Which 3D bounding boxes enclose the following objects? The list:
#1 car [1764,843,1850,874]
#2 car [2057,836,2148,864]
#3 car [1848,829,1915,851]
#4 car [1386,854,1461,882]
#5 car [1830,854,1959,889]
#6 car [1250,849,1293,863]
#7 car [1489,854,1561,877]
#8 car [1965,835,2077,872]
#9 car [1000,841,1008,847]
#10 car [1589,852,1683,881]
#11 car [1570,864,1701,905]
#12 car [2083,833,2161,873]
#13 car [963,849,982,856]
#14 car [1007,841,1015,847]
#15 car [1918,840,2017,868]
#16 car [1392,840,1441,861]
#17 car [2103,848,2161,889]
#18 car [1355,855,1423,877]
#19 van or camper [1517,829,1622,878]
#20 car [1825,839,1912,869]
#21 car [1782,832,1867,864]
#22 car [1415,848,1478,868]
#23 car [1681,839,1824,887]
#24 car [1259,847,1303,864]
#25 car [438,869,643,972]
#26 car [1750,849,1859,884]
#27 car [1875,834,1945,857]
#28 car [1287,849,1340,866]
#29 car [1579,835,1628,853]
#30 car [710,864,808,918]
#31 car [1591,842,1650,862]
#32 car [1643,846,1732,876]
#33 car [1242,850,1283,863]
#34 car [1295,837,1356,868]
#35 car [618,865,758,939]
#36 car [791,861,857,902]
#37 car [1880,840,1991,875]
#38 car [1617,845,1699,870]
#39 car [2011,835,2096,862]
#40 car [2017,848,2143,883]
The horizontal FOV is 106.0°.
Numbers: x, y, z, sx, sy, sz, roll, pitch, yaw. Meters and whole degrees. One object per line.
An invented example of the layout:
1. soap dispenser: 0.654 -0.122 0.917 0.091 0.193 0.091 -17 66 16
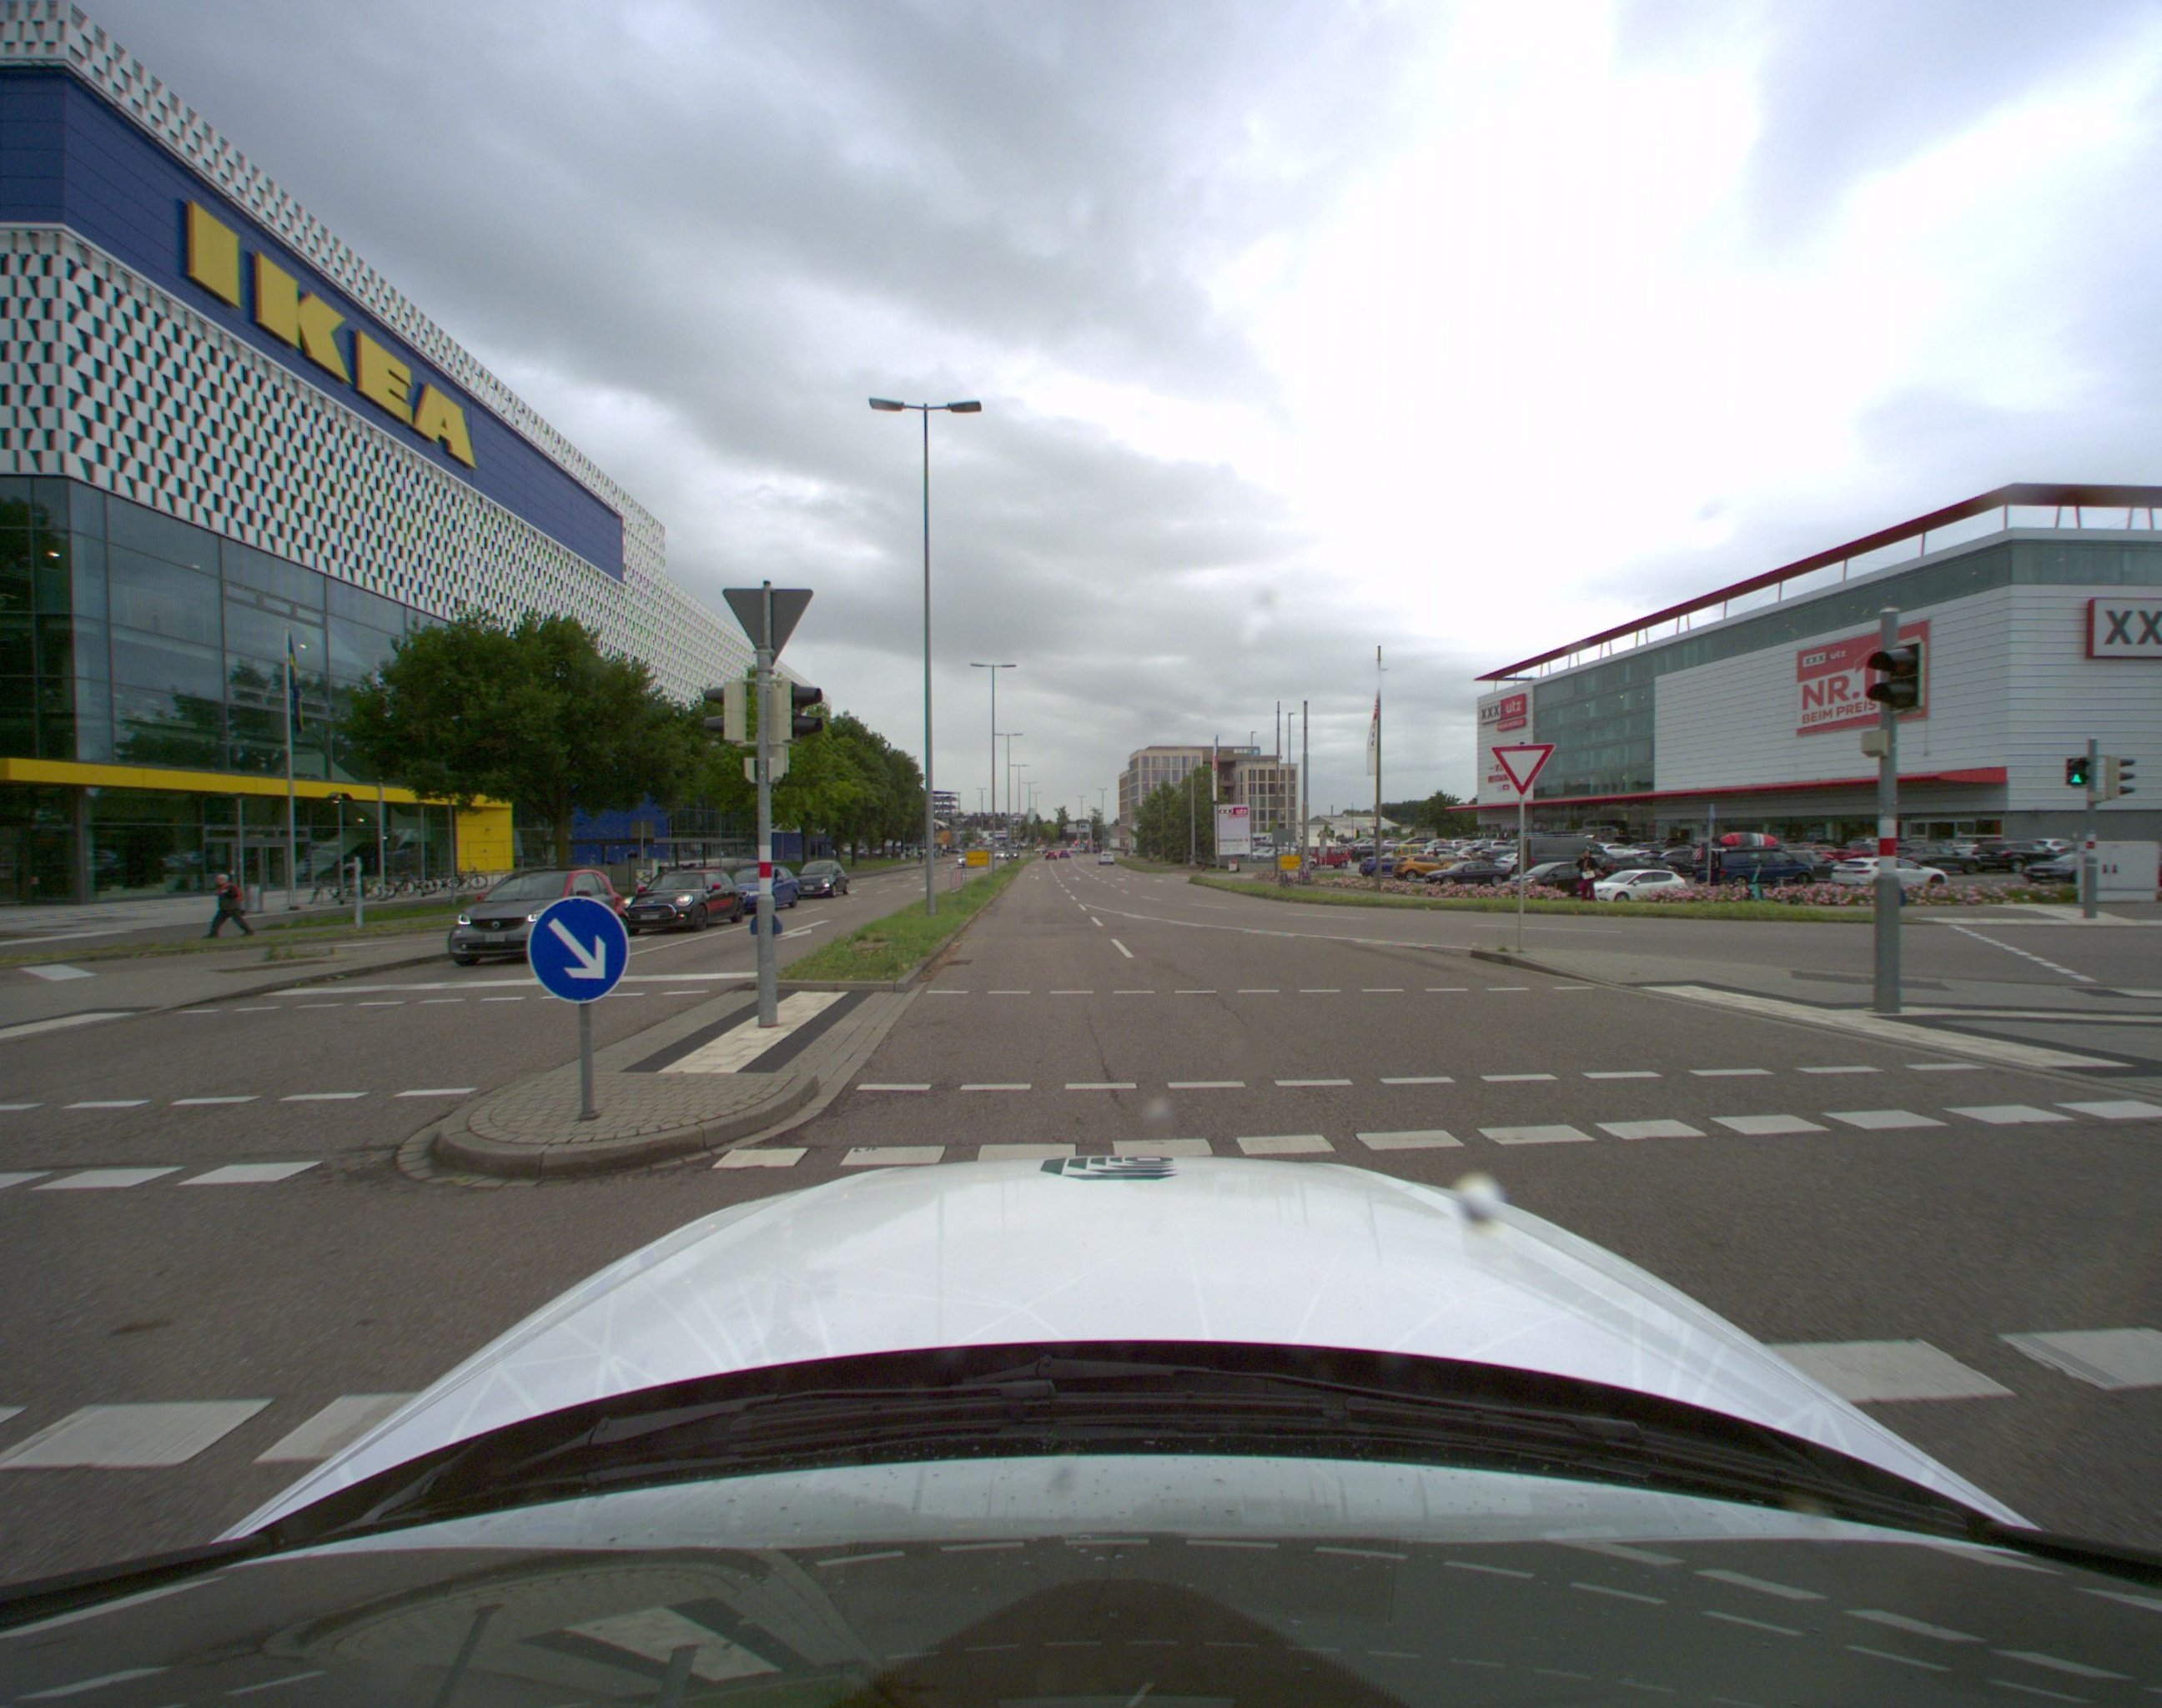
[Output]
1. car: 46.658 0.278 52.392 3.977 1.861 1.832 -1 0 -2
2. car: 62.120 -0.264 49.579 3.594 1.560 1.650 -2 2 -2
3. car: 61.976 -1.120 63.074 3.594 1.560 1.650 -2 2 -2
4. car: 21.358 0.844 50.861 3.972 1.643 1.816 -1 0 1
5. car: 36.878 0.785 36.963 4.185 1.476 1.745 -1 0 -1
6. car: 19.930 0.184 85.124 4.046 1.350 1.833 0 3 -4
7. car: 30.726 0.776 56.403 3.975 1.552 1.863 0 0 -1
8. car: 52.175 -0.023 45.249 3.975 1.929 1.950 -1 0 -1
9. car: -23.774 -2.942 250.384 1.768 1.705 3.921 0 3 3
10. car: 31.364 0.691 46.132 3.970 1.555 1.949 0 0 3
11. car: 22.373 1.216 32.957 4.099 1.445 1.873 0 3 -4
12. car: 53.262 -0.069 40.844 3.983 1.950 1.995 0 0 -7
13. car: -25.330 -0.370 190.589 4.432 1.711 1.994 0 2 -10
14. car: -21.601 -2.934 250.347 1.768 1.705 3.921 0 3 3
15. car: 52.468 -0.014 48.244 3.975 1.531 1.778 -2 1 -1
16. car: 30.346 -0.338 73.683 3.726 1.767 1.733 0 3 -2
17. car: 47.075 0.574 35.134 3.981 1.665 1.882 -1 1 -6
18. car: 21.063 0.827 55.749 3.976 1.455 1.813 0 0 -2
19. van or camper: 30.725 -0.003 51.380 5.354 2.983 1.994 -1 0 5
20. car: 51.312 -0.018 53.117 3.975 1.818 1.820 -1 0 -1
21. car: 50.665 -0.394 55.553 3.976 2.013 1.999 -1 0 -2
22. car: 30.590 0.330 68.234 4.399 1.583 1.834 0 3 -1
23. car: 32.094 0.404 39.044 5.016 2.165 2.123 -1 0 2
24. car: 20.279 0.136 82.835 4.042 1.540 1.763 0 3 -2
25. car: -9.342 1.070 14.388 1.599 1.503 3.205 -2 0 -4
26. car: 37.280 0.646 42.009 3.979 1.675 1.997 -1 0 -4
27. car: 61.452 -0.654 60.375 3.594 1.560 1.650 -2 2 -2
28. car: 21.507 0.283 75.565 4.362 1.460 1.960 0 3 -2
29. car: 53.464 -1.033 83.421 3.981 1.822 1.800 0 3 -6
30. car: -10.117 1.110 25.931 1.599 1.444 4.138 -3 0 -3
31. car: 45.916 -0.182 69.344 3.980 1.654 1.832 0 0 -5
32. car: 36.501 0.400 49.087 3.976 1.670 1.885 -1 0 -1
33. car: 19.677 0.274 88.324 4.046 1.350 1.762 0 3 -4
34. car: 21.224 -0.159 70.821 4.709 2.578 2.170 0 3 -2
35. car: -9.397 1.075 19.858 1.659 1.503 4.059 -1 0 -4
36. car: -10.593 1.073 33.825 1.599 1.497 4.032 -3 0 -3
37. car: 47.027 0.194 44.870 4.197 1.780 1.865 -2 1 -1
38. car: 36.704 0.182 51.892 3.976 1.555 1.854 0 0 -2
39. car: 62.454 -0.360 52.345 3.594 1.560 1.650 -2 2 -2
40. car: 46.257 0.508 37.741 3.982 1.516 1.829 -1 0 -6
